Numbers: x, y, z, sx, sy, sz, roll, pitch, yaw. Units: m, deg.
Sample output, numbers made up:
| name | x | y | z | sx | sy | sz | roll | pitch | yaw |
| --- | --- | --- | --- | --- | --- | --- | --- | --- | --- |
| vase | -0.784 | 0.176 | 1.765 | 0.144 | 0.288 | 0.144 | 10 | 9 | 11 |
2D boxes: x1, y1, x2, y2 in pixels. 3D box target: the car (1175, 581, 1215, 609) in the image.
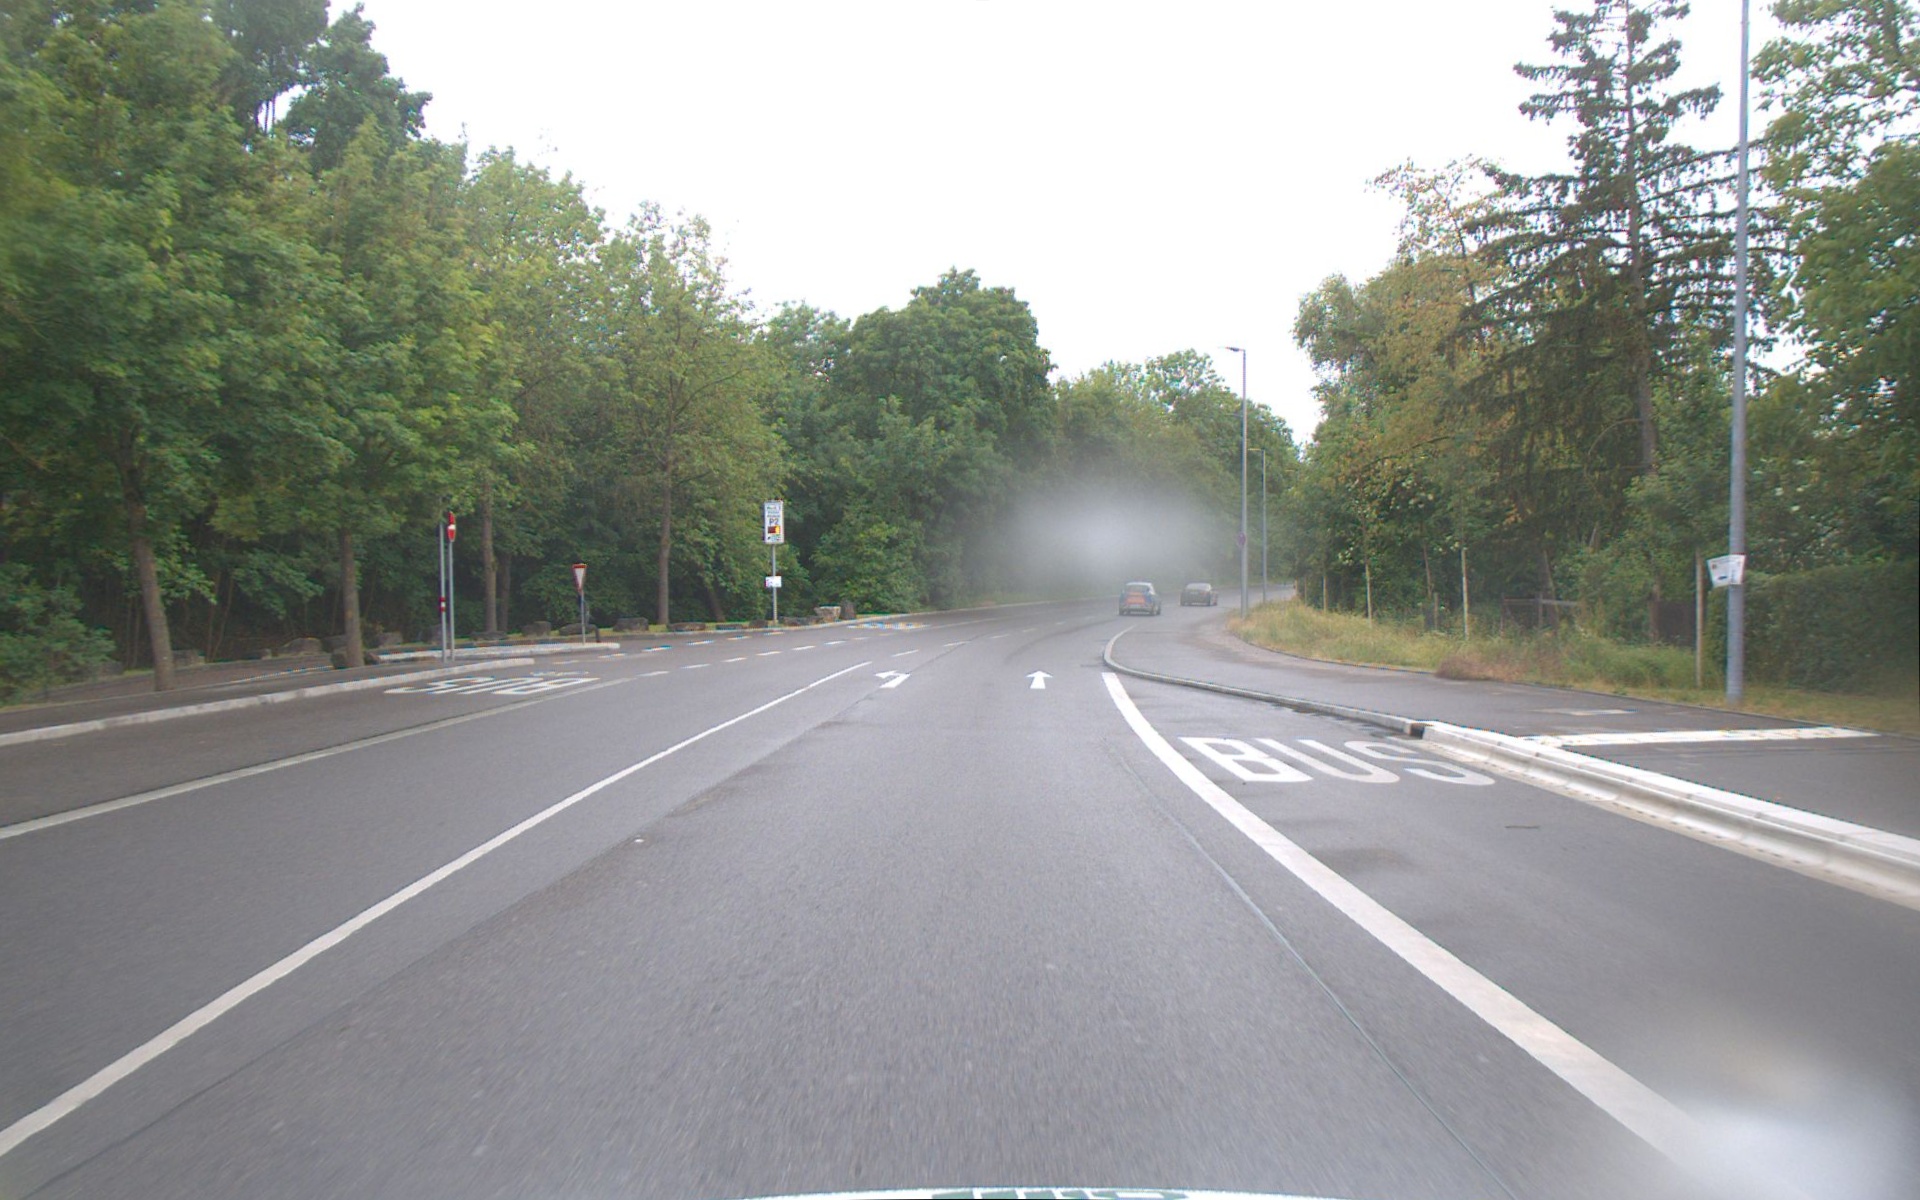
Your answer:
| name | x | y | z | sx | sy | sz | roll | pitch | yaw |
| --- | --- | --- | --- | --- | --- | --- | --- | --- | --- |
| car | 14.243 | -0.302 | 99.994 | 1.886 | 1.512 | 3.803 | -1 | 2 | 16 |

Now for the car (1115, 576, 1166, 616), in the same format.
| name | x | y | z | sx | sy | sz | roll | pitch | yaw |
| --- | --- | --- | --- | --- | --- | --- | --- | --- | --- |
| car | 8.732 | -0.228 | 79.806 | 1.951 | 1.718 | 4.005 | -1 | 2 | 12 |
